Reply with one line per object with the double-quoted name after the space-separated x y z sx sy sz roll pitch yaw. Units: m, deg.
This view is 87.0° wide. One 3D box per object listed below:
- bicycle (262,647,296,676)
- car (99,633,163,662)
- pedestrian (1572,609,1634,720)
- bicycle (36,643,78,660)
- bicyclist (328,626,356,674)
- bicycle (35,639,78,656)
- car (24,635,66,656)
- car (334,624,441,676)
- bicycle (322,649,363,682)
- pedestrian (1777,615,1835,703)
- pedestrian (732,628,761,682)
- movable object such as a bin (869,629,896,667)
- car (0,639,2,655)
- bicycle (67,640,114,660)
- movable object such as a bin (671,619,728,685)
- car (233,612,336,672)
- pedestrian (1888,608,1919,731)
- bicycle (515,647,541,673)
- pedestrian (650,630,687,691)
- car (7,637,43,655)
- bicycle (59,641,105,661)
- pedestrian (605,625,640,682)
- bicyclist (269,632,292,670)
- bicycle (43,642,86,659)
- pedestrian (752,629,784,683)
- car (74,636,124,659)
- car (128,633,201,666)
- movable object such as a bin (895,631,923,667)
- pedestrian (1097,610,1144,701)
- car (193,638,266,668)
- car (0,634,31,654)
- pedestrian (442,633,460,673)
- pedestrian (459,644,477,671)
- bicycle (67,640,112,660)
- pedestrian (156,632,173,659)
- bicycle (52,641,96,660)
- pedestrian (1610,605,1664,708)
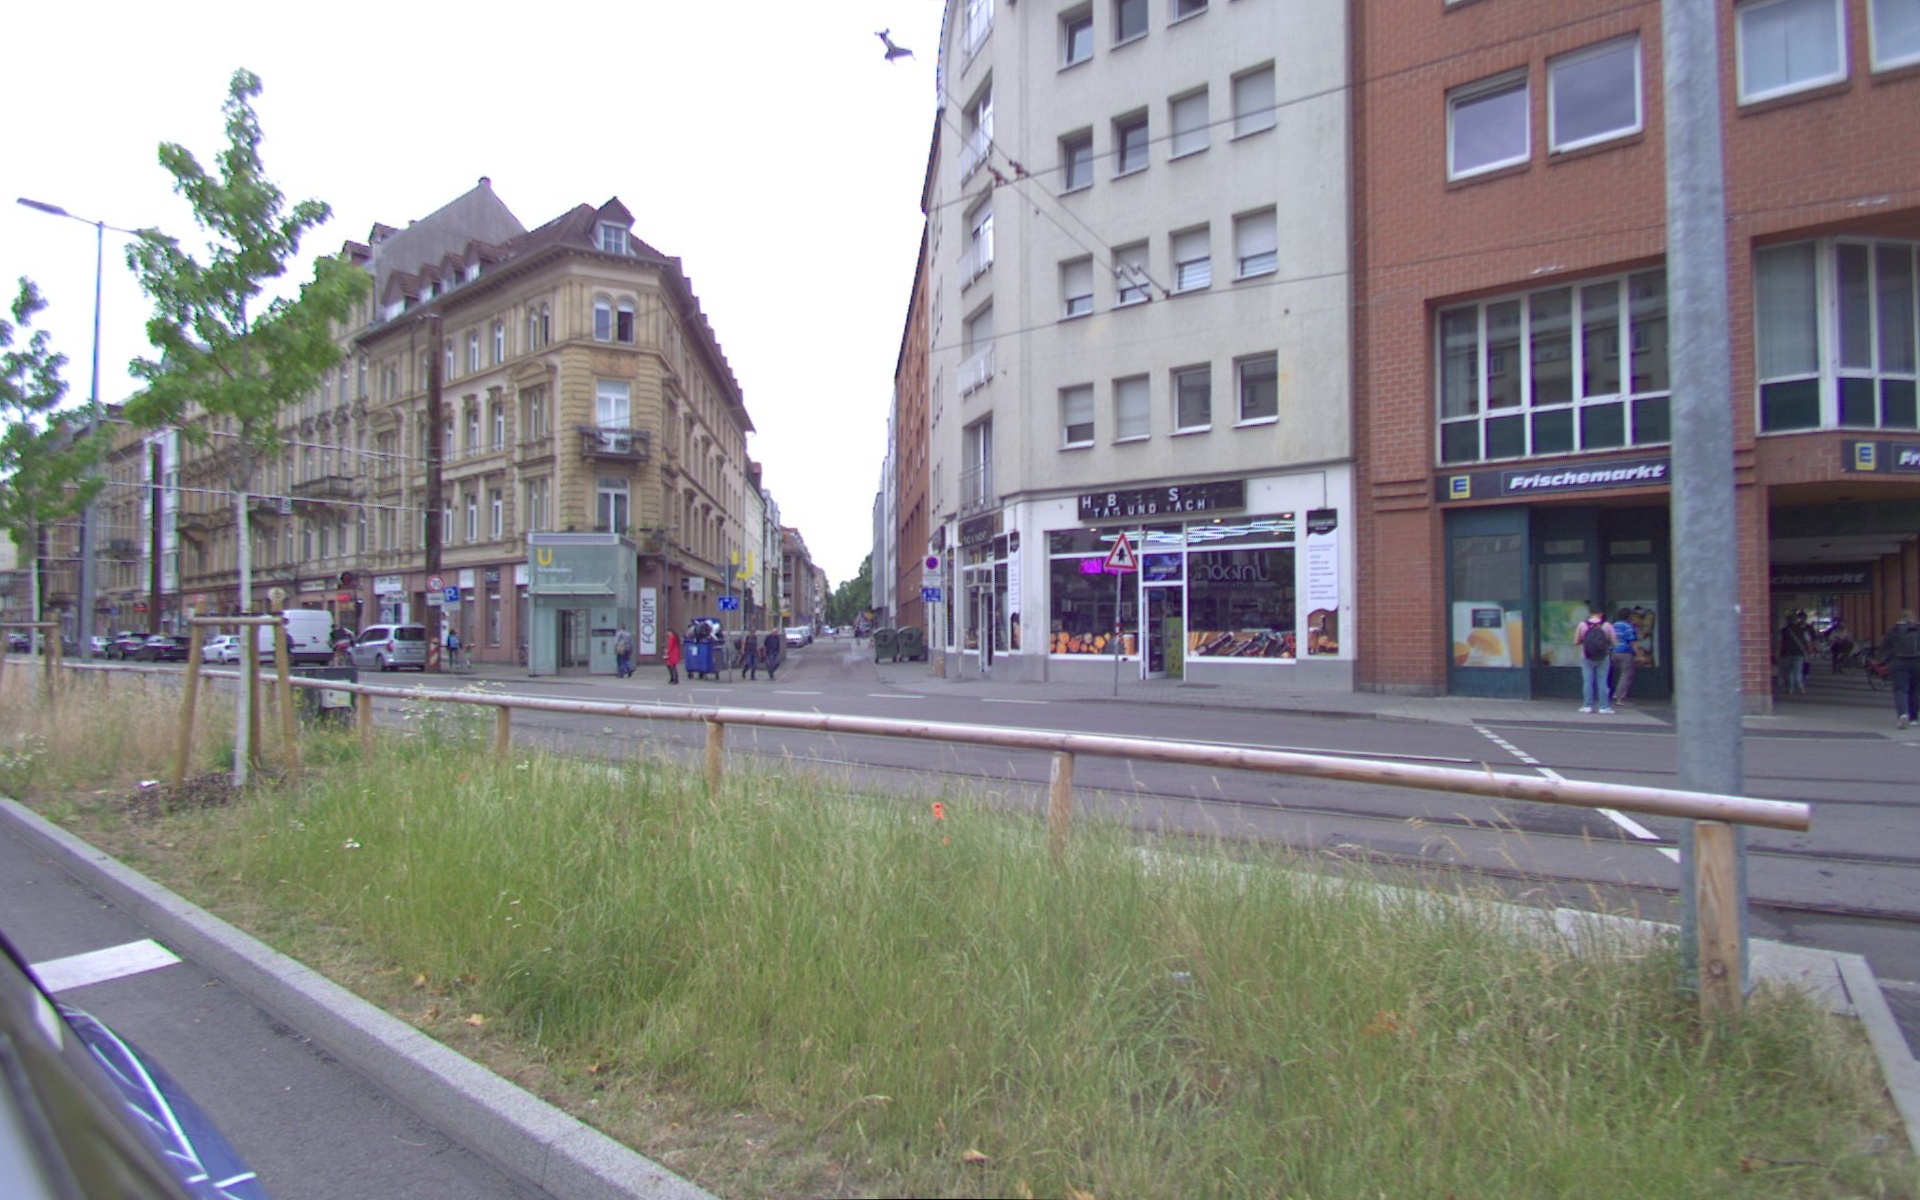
-25.783 2.315 38.294 1.909 1.029 0.474 -2 -3 38 "bicycle"
-50.477 2.918 61.602 5.021 1.703 1.797 -2 -4 36 "car"
10.178 0.996 16.009 0.797 1.696 0.564 -1 0 35 "pedestrian"
-67.547 3.837 75.735 0.547 1.212 2.259 -2 -2 39 "bicycle"
-20.429 1.656 33.458 0.811 1.552 0.486 -2 -3 37 "bicyclist"
-67.102 3.544 75.209 0.704 1.212 2.259 -2 -4 39 "bicycle"
-70.674 3.540 78.167 4.220 1.545 1.727 -2 -4 38 "car"
-21.827 1.899 38.558 4.513 1.879 1.885 -2 -4 38 "car"
-20.369 2.153 33.373 1.909 1.029 0.471 -2 -3 38 "bicycle"
16.969 1.157 20.311 0.797 1.696 0.737 -1 0 34 "pedestrian"
-6.848 1.762 32.412 0.651 1.700 0.724 2 -2 -36 "pedestrian"
-3.174 1.955 41.411 0.931 1.512 1.241 -1 -1 -10 "movable object such as a bin"
-93.339 4.485 96.951 4.041 1.476 1.727 -2 -4 39 "car"
-59.065 3.388 68.746 0.665 1.339 2.259 -2 -4 39 "bicycle"
-8.179 1.612 31.748 1.019 1.996 1.618 2 -2 -44 "movable object such as a bin"
-30.235 1.884 45.217 5.657 2.506 2.033 -2 -5 38 "car"
13.600 0.960 14.151 0.797 1.696 0.737 -1 0 34 "pedestrian"
-16.566 2.290 38.807 0.336 0.966 1.688 0 -1 -44 "bicycle"
-8.264 1.708 28.720 0.659 1.700 0.716 0 -2 28 "pedestrian"
-78.395 3.886 84.848 3.916 1.500 1.726 -2 -4 40 "car"
-61.082 3.545 70.427 0.665 1.339 2.259 -2 -4 39 "bicycle"
-10.340 1.627 30.996 0.811 1.700 0.725 2 -2 -34 "pedestrian"
-25.623 1.910 38.149 0.811 1.417 0.474 -2 -3 37 "bicyclist"
-65.957 3.712 74.556 0.704 1.212 2.259 -2 -4 39 "bicycle"
-6.231 1.791 32.772 0.651 1.700 0.926 2 -2 -36 "pedestrian"
-56.692 3.146 66.629 3.915 1.500 1.727 -2 -4 38 "car"
-43.841 2.707 55.745 5.044 1.702 1.901 -2 -5 38 "car"
-2.109 1.992 41.525 0.994 1.416 1.241 -1 -1 -10 "movable object such as a bin"
3.104 1.054 19.556 0.719 1.700 0.656 0 -2 27 "pedestrian"
-36.176 2.621 50.106 4.158 1.434 1.754 -2 -5 38 "car"
-82.227 3.822 87.859 4.041 1.685 1.727 -2 -4 39 "car"
-20.033 2.076 39.807 0.546 1.568 0.659 0 -1 -34 "pedestrian"
-19.511 2.284 40.143 0.547 1.038 0.453 0 -1 -43 "pedestrian"
-59.568 3.427 69.270 0.520 1.339 2.259 -2 -4 39 "bicycle"
-53.900 3.074 68.600 0.644 1.796 0.787 -1 -1 -15 "pedestrian"
-63.799 3.658 72.868 0.665 1.339 2.259 -2 -4 39 "bicycle"
11.501 0.938 17.208 0.720 1.700 0.655 0 -2 30 "pedestrian"
